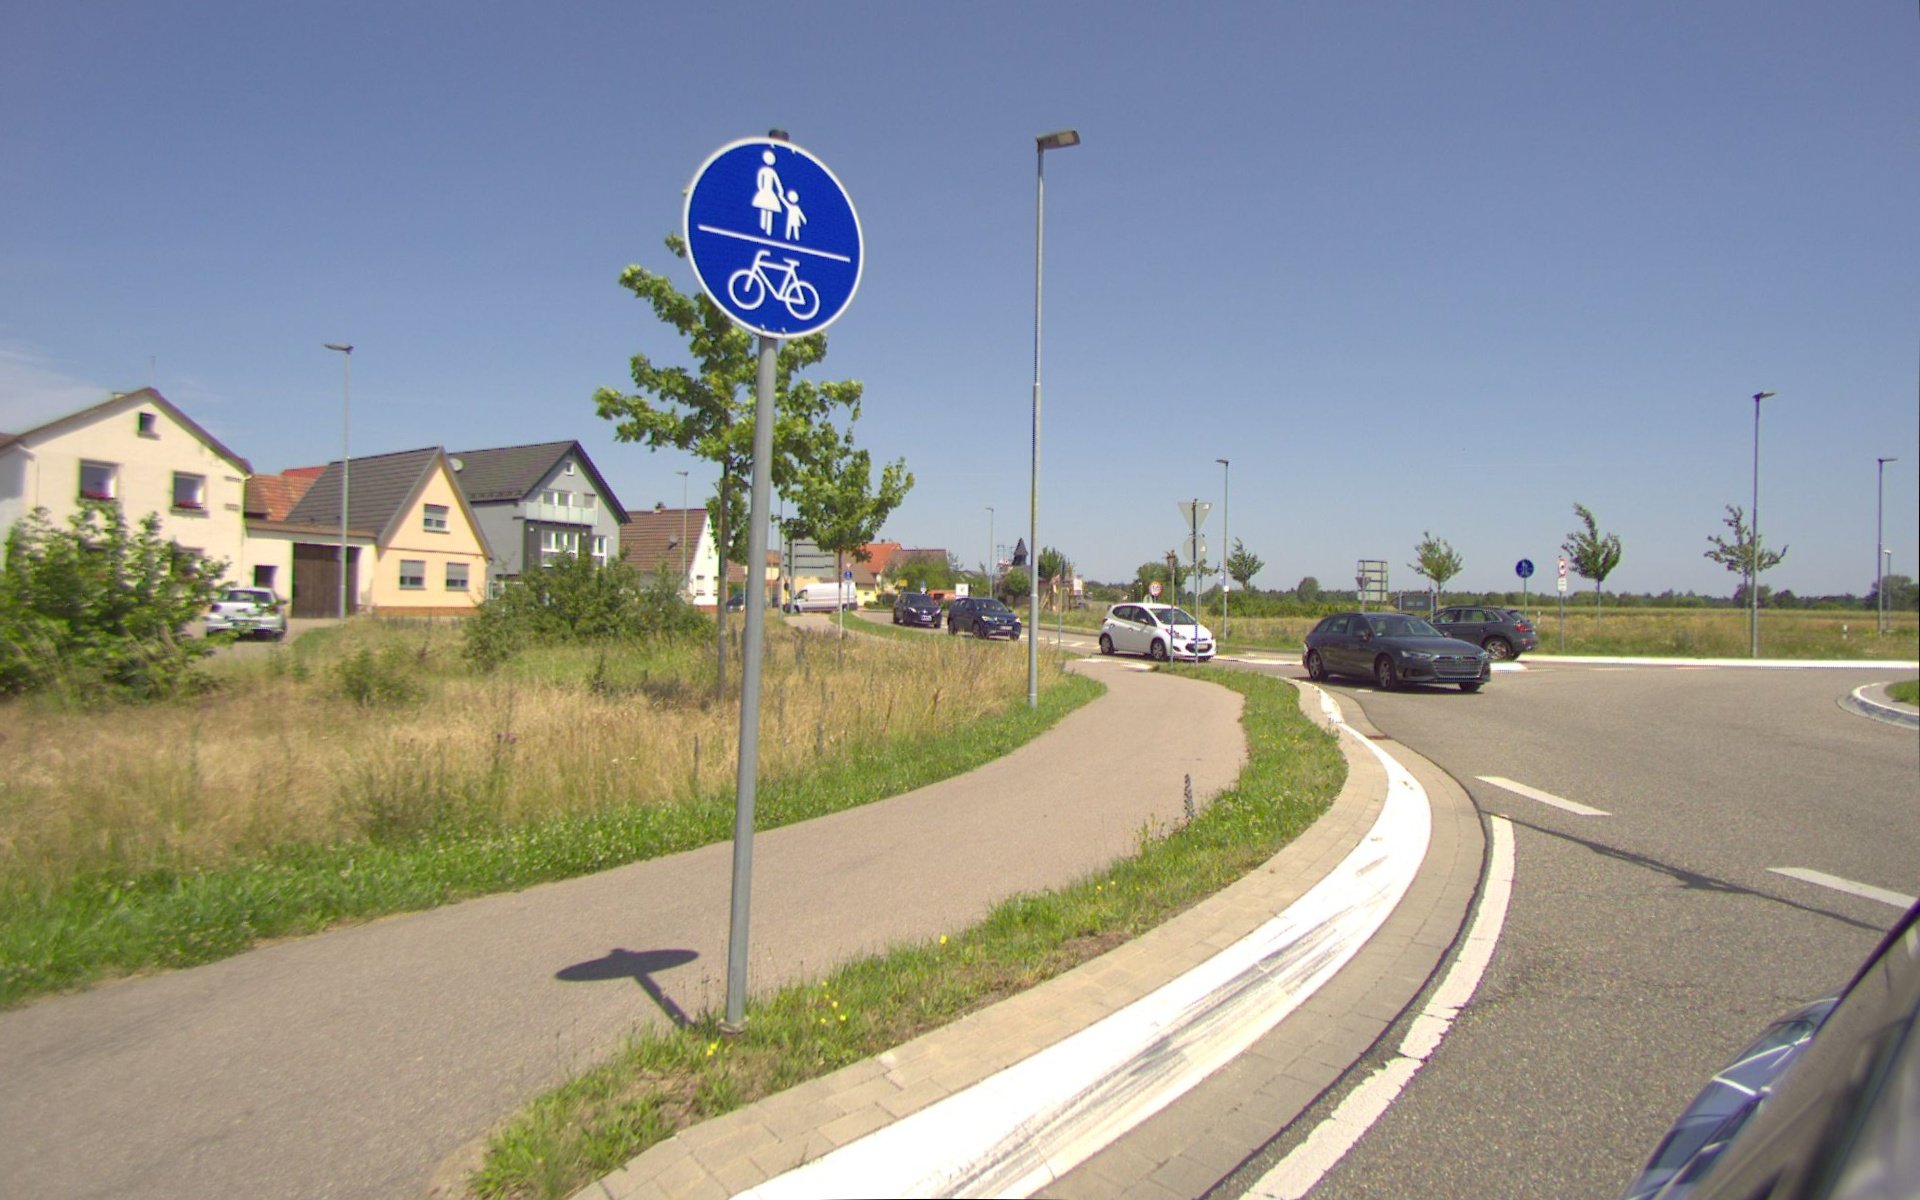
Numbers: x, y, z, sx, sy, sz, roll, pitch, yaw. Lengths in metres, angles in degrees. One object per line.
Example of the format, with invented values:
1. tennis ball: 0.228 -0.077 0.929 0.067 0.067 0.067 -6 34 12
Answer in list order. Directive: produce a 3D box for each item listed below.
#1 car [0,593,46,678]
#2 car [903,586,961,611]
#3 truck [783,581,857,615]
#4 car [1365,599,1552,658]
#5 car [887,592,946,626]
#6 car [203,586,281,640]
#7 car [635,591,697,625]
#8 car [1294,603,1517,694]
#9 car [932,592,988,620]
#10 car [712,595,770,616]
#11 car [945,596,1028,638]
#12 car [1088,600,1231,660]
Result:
1. car: -16.054 0.535 14.663 1.718 1.328 3.990 1 0 8
2. car: -3.116 -0.165 112.399 6.079 2.617 2.333 1 -1 28
3. truck: -10.814 -0.148 78.380 5.521 2.538 2.240 1 0 -7
4. car: 15.132 0.859 30.835 4.859 1.670 1.928 -1 -2 36
5. car: -2.212 0.422 49.999 1.830 1.581 4.735 0 0 -16
6. car: -20.185 0.327 28.562 1.619 1.410 4.001 1 0 -33
7. car: -16.867 0.461 58.254 1.825 1.854 3.986 1 0 11
8. car: 8.415 0.829 19.645 1.831 1.452 4.527 -1 1 -7
9. car: -0.049 0.377 57.821 1.799 1.510 4.876 1 -1 -18
10. car: -14.682 0.393 68.029 1.838 1.368 3.729 1 0 28
11. car: 0.976 0.618 40.055 1.686 1.581 4.159 0 0 -23
12. car: 5.735 0.817 29.751 1.831 1.581 4.528 0 0 -24
